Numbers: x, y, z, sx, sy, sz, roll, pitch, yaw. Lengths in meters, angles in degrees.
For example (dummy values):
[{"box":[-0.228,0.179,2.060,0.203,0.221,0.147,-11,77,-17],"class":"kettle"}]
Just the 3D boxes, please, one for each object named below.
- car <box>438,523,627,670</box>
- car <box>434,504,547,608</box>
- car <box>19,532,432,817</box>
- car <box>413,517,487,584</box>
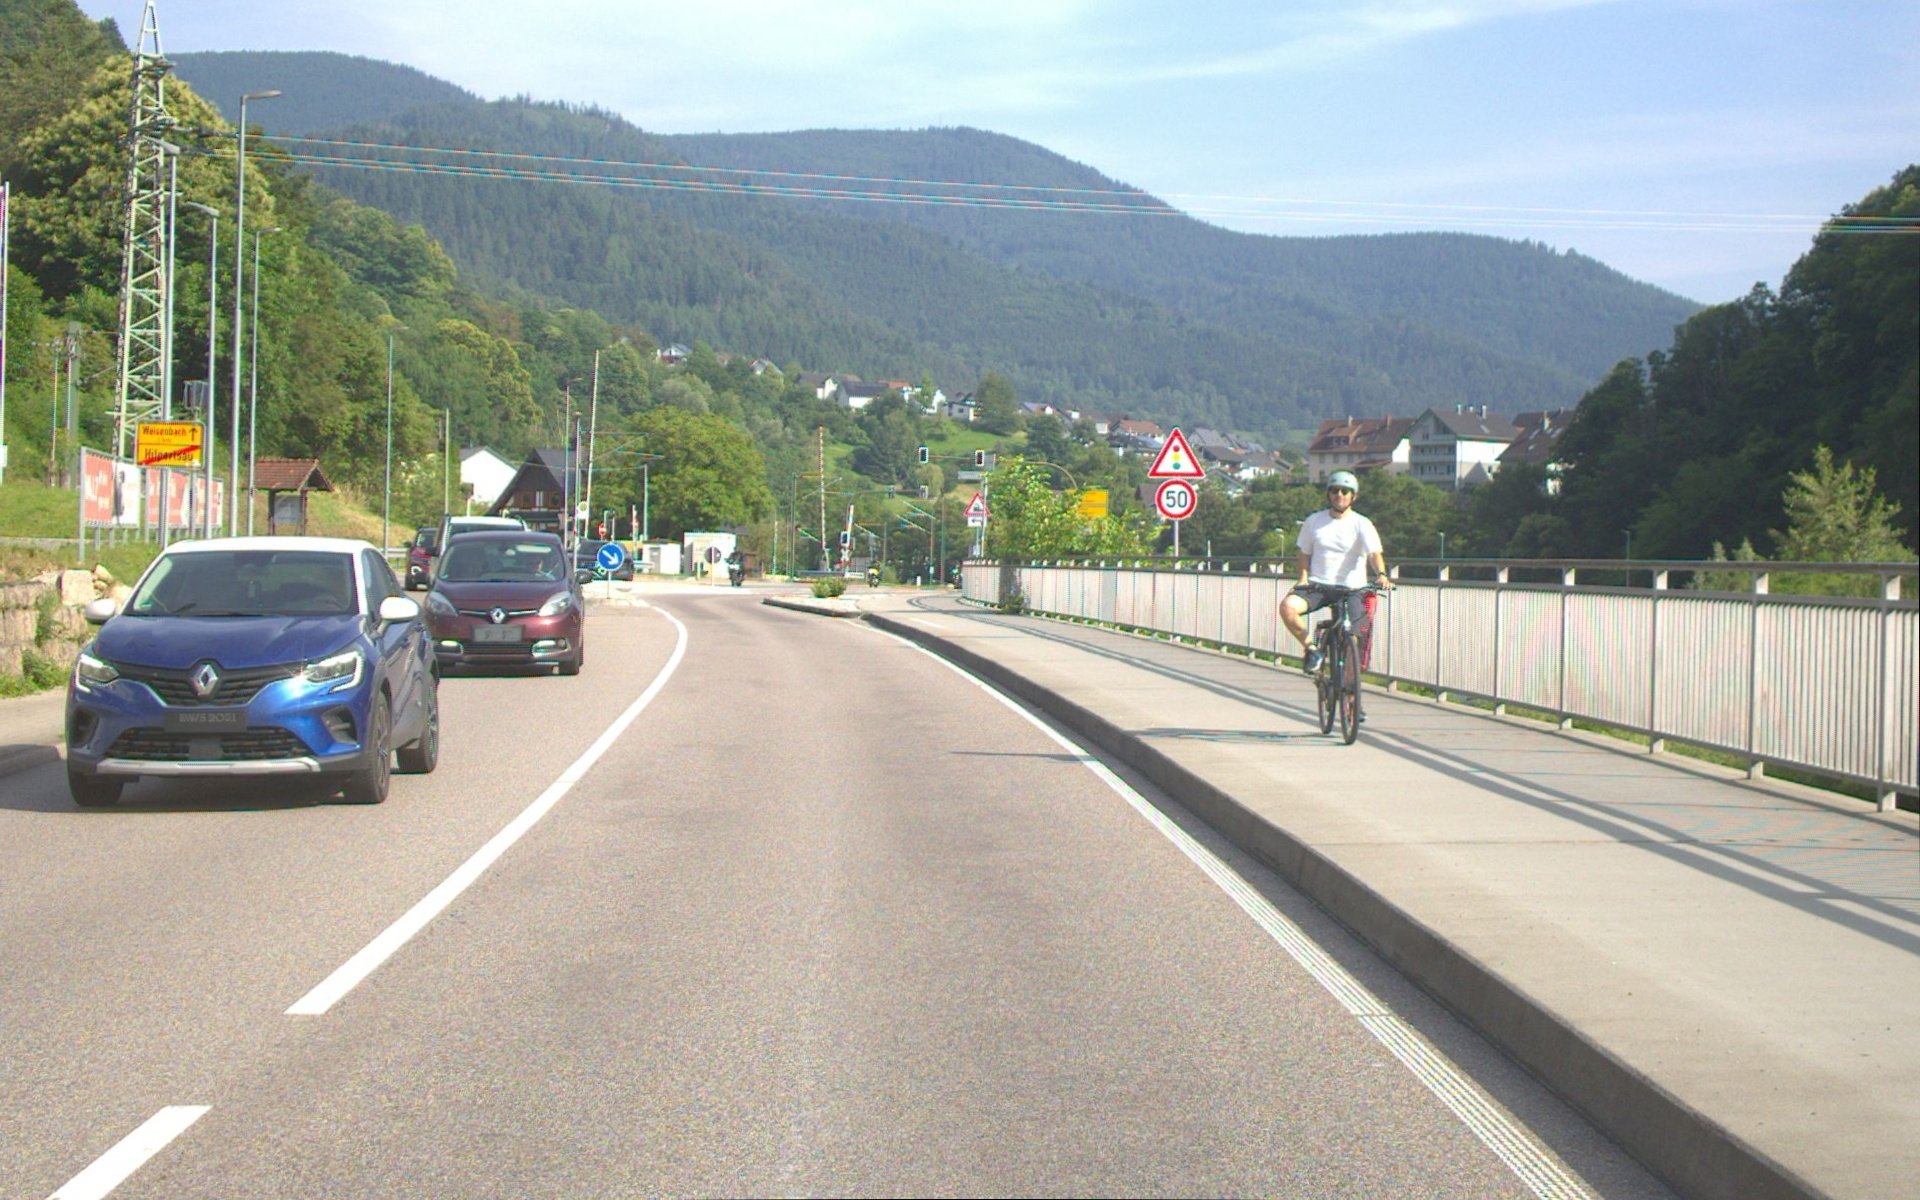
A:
[{"box":[-4.943,-0.087,40.267,1.797,1.612,4.463,0,1,-2],"class":"car"},{"box":[-8.801,-0.858,64.766,1.896,1.881,5.297,0,1,-6],"class":"car"},{"box":[-4.273,0.360,20.581,1.744,1.521,4.001,0,1,-2],"class":"car"},{"box":[-12.797,-1.251,86.450,1.705,1.578,4.160,2,1,-7],"class":"car"}]
